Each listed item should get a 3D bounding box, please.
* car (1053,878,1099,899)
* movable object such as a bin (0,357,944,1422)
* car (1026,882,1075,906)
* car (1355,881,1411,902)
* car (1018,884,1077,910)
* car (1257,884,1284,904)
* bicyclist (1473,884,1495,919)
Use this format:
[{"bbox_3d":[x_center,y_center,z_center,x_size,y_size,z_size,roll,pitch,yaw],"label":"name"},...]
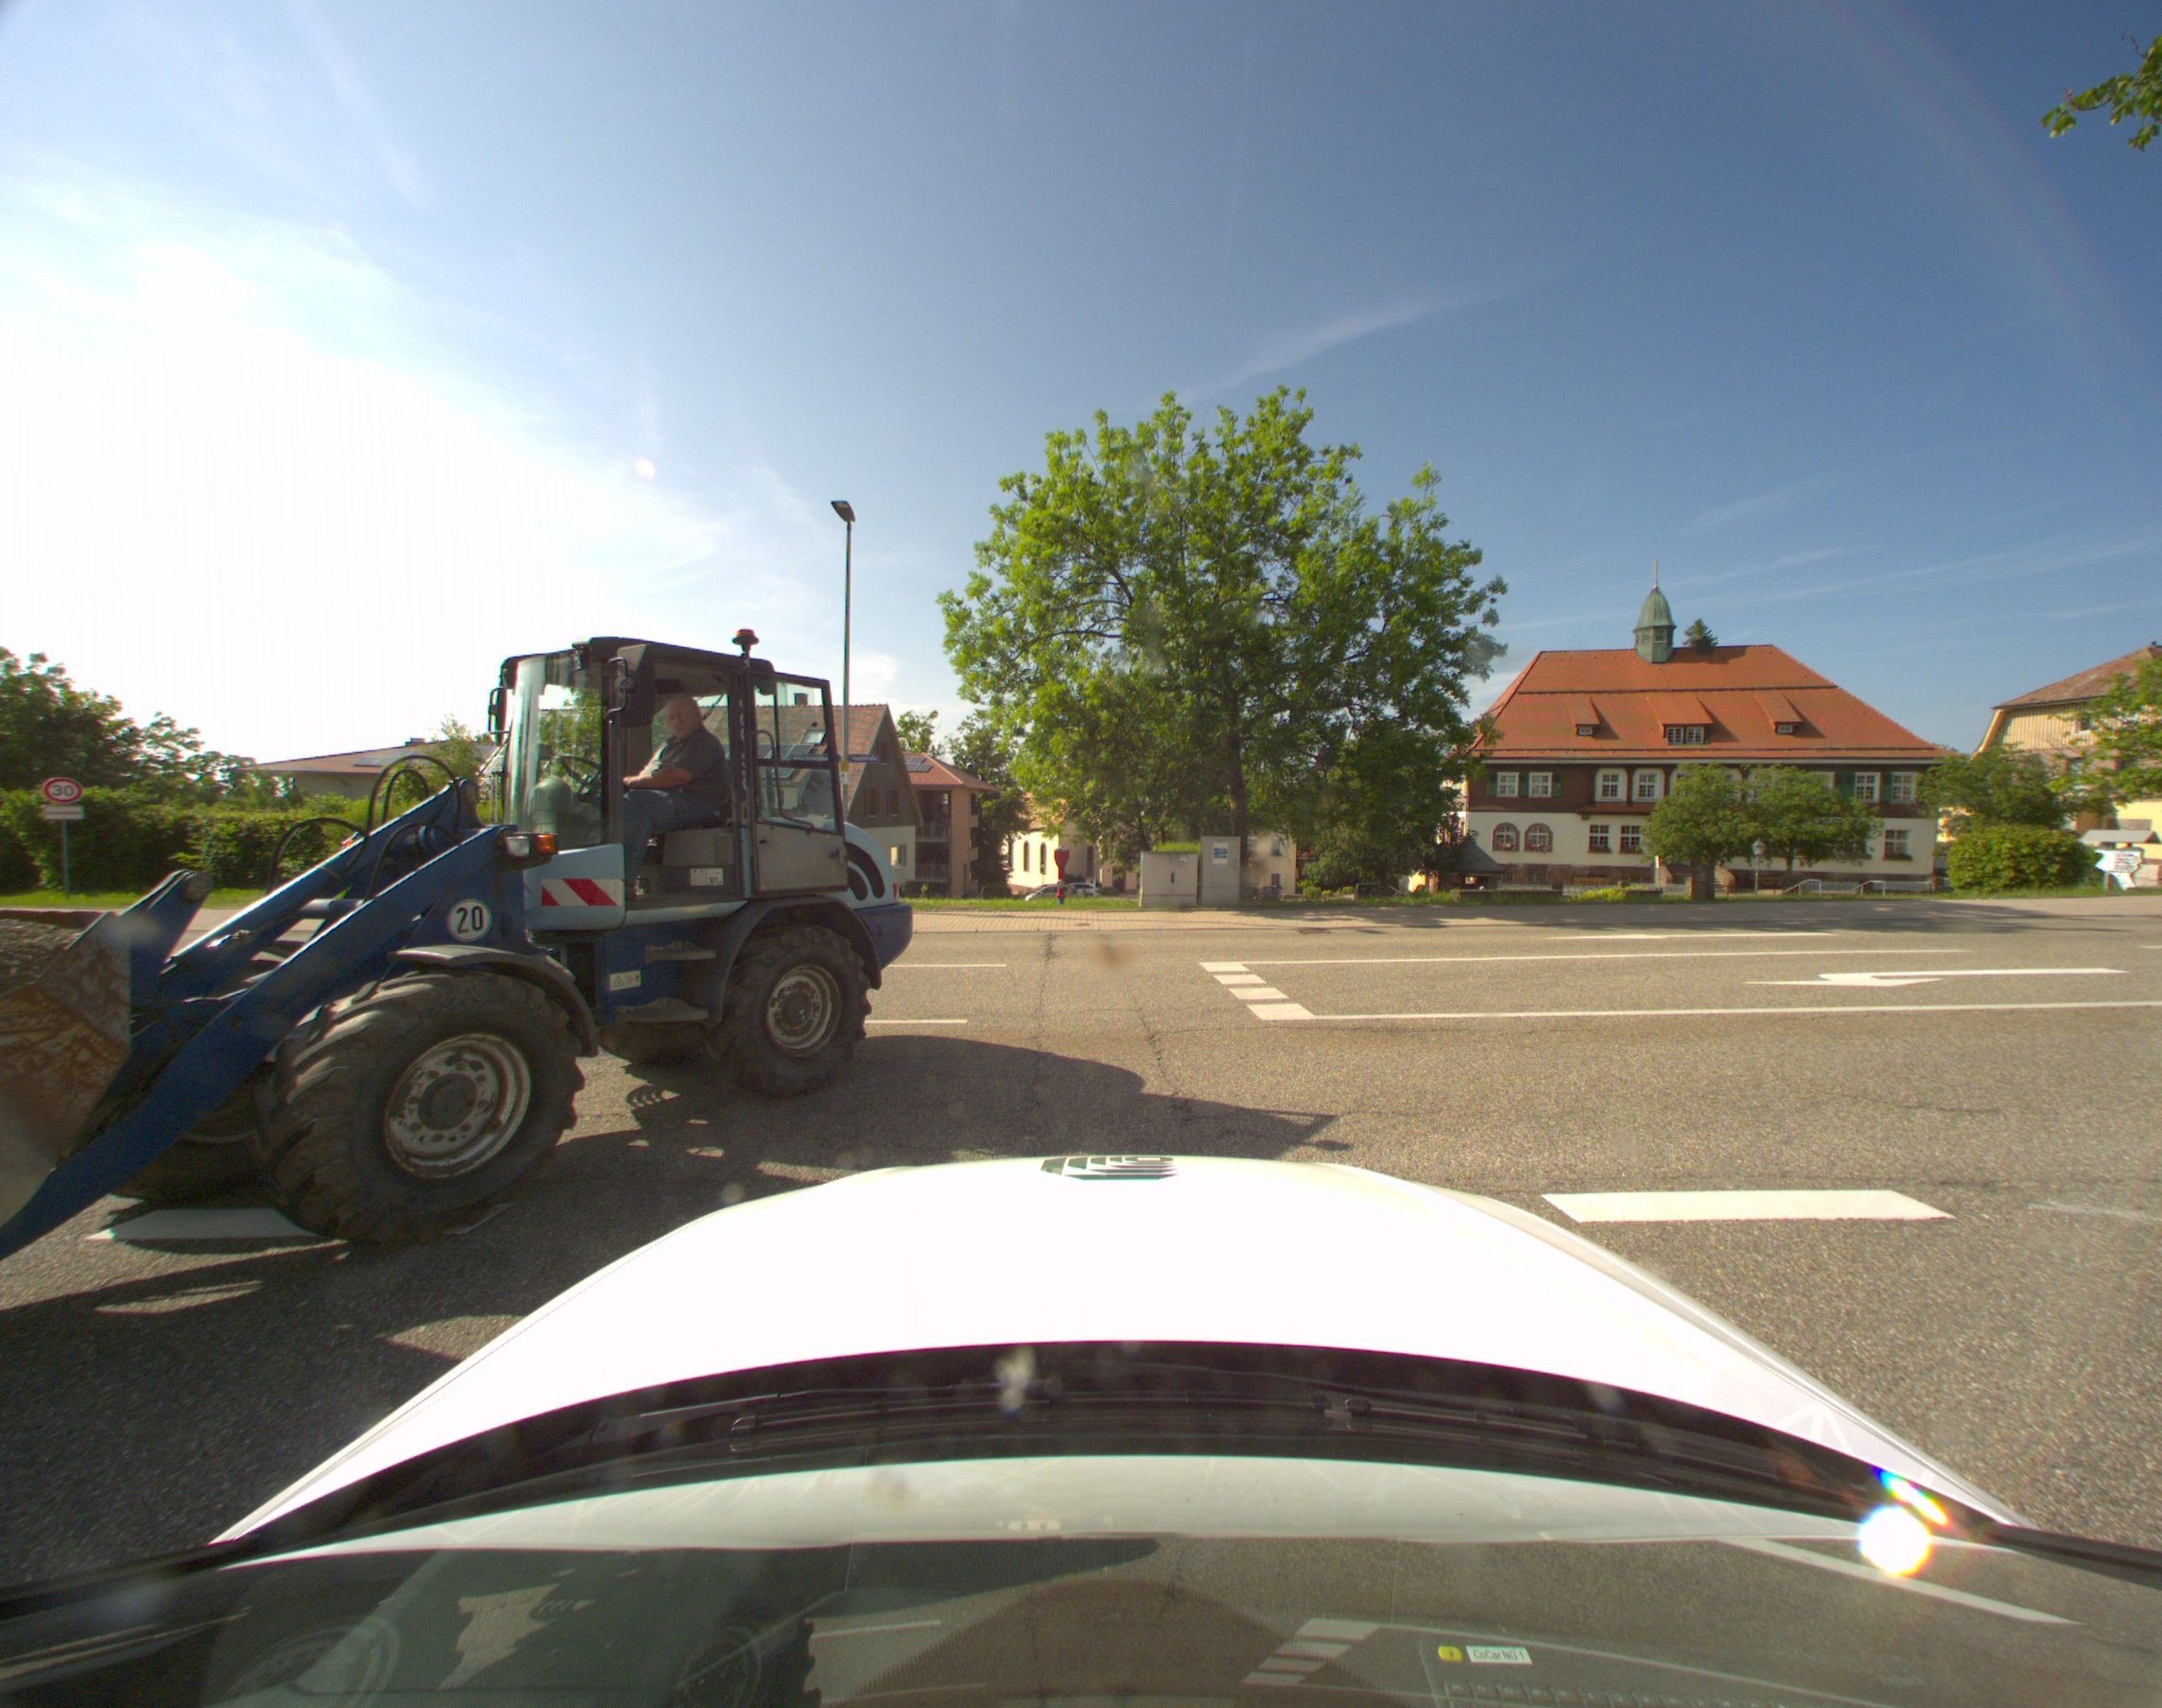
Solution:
[{"bbox_3d":[-0.447,2.895,68.634,3.765,1.593,1.711,-1,-1,-4],"label":"car"},{"bbox_3d":[-2.985,0.067,4.123,1.975,2.769,5.134,0,1,24],"label":"movable object such as a bin"},{"bbox_3d":[-2.390,3.117,63.651,3.765,1.758,1.711,-1,-1,-4],"label":"car"},{"bbox_3d":[22.599,2.818,61.122,3.746,1.444,1.720,-1,-1,14],"label":"car"},{"bbox_3d":[-2.392,3.046,57.823,4.081,1.758,1.711,-1,-1,-3],"label":"car"},{"bbox_3d":[15.737,3.295,67.662,1.699,1.542,3.791,-1,-1,6],"label":"car"},{"bbox_3d":[22.525,2.635,45.500,0.987,1.925,0.584,-1,-1,16],"label":"bicyclist"}]
